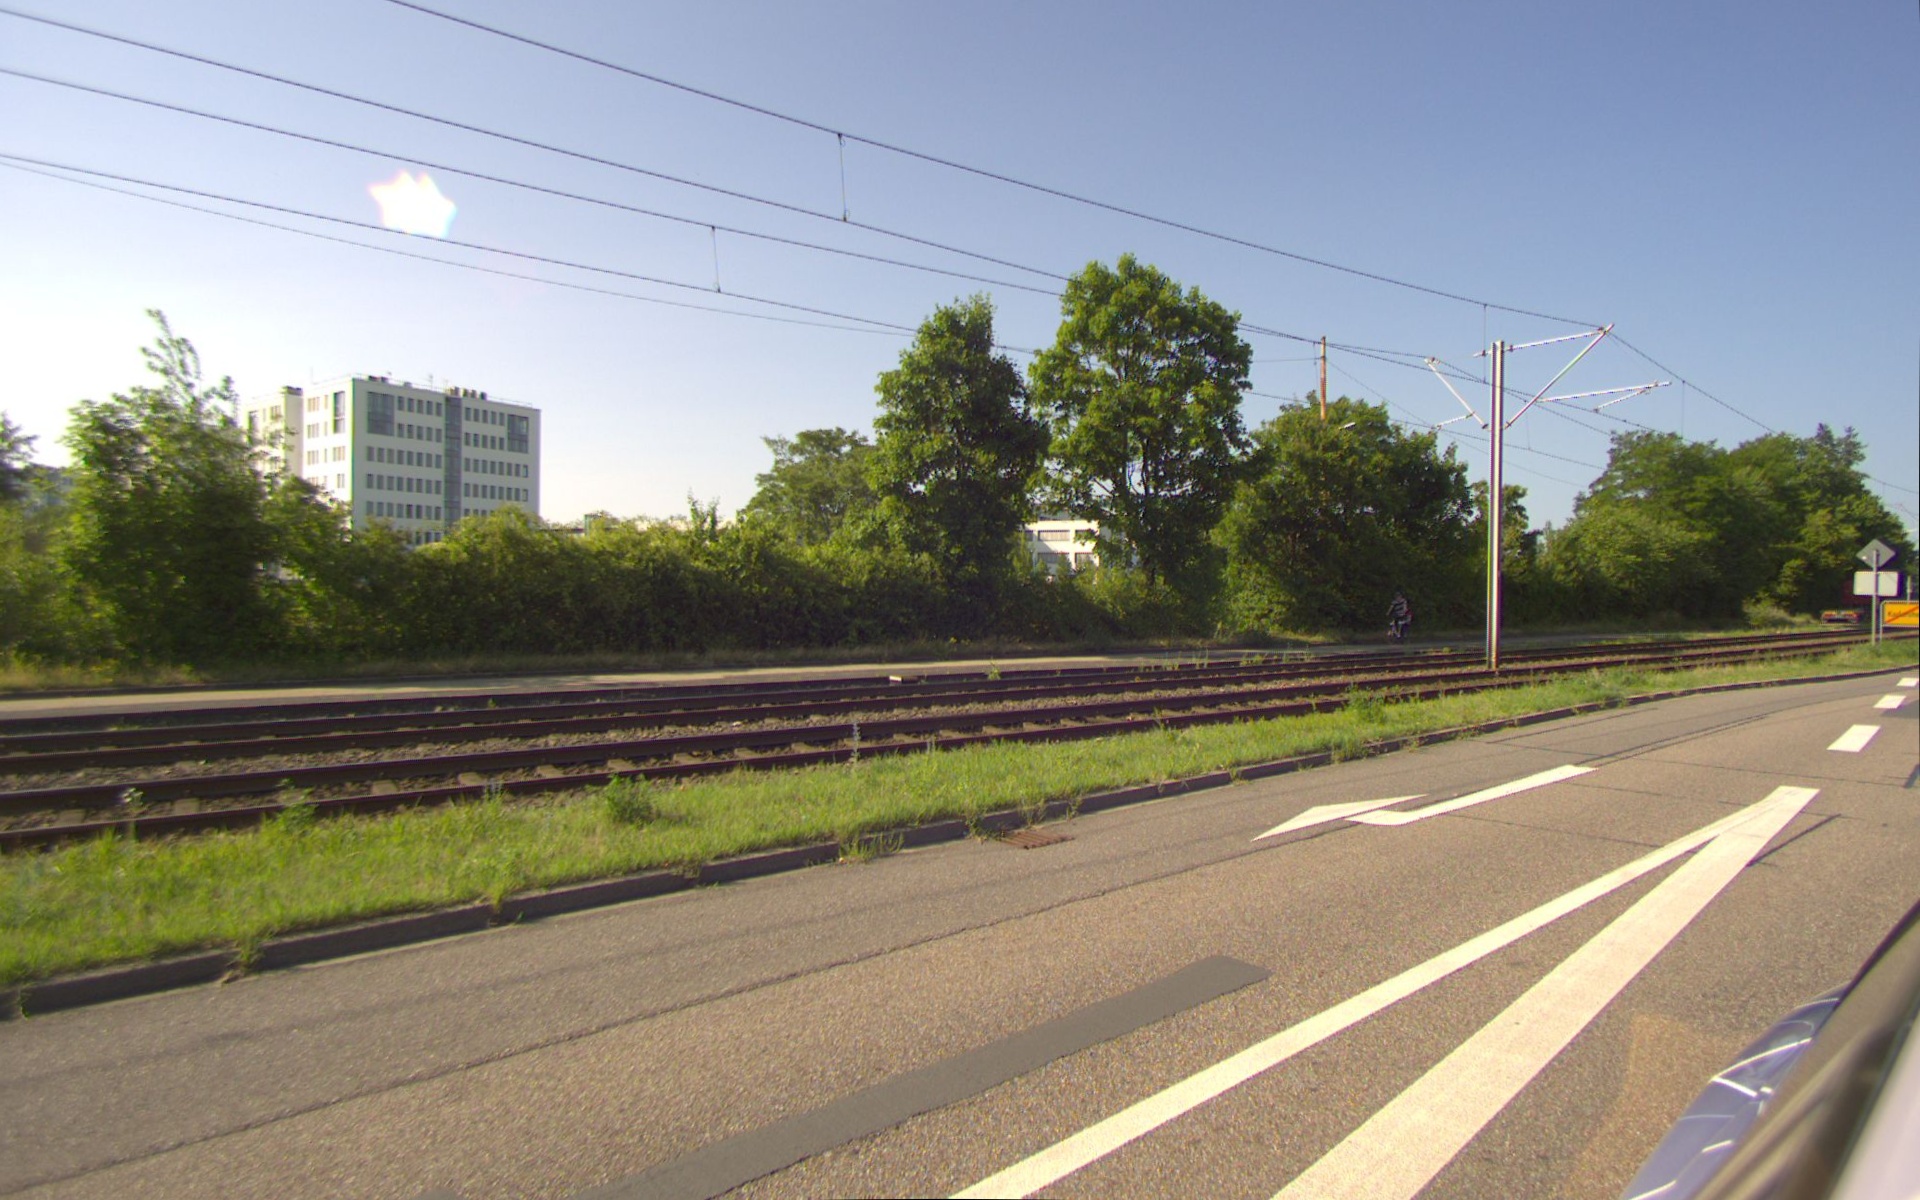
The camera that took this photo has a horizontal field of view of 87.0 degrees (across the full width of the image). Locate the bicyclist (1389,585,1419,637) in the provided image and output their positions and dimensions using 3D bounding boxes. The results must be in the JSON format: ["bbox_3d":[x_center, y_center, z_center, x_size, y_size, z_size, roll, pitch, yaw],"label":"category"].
[{"bbox_3d":[15.679,0.378,35.705,0.704,1.830,0.708,0,0,-38],"label":"bicyclist"}]

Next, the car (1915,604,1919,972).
[{"bbox_3d":[5.781,0.732,4.490,4.383,1.442,1.819,0,0,-41],"label":"car"}]

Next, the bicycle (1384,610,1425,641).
[{"bbox_3d":[15.680,0.893,35.696,1.840,1.060,0.547,0,1,-39],"label":"bicycle"}]
